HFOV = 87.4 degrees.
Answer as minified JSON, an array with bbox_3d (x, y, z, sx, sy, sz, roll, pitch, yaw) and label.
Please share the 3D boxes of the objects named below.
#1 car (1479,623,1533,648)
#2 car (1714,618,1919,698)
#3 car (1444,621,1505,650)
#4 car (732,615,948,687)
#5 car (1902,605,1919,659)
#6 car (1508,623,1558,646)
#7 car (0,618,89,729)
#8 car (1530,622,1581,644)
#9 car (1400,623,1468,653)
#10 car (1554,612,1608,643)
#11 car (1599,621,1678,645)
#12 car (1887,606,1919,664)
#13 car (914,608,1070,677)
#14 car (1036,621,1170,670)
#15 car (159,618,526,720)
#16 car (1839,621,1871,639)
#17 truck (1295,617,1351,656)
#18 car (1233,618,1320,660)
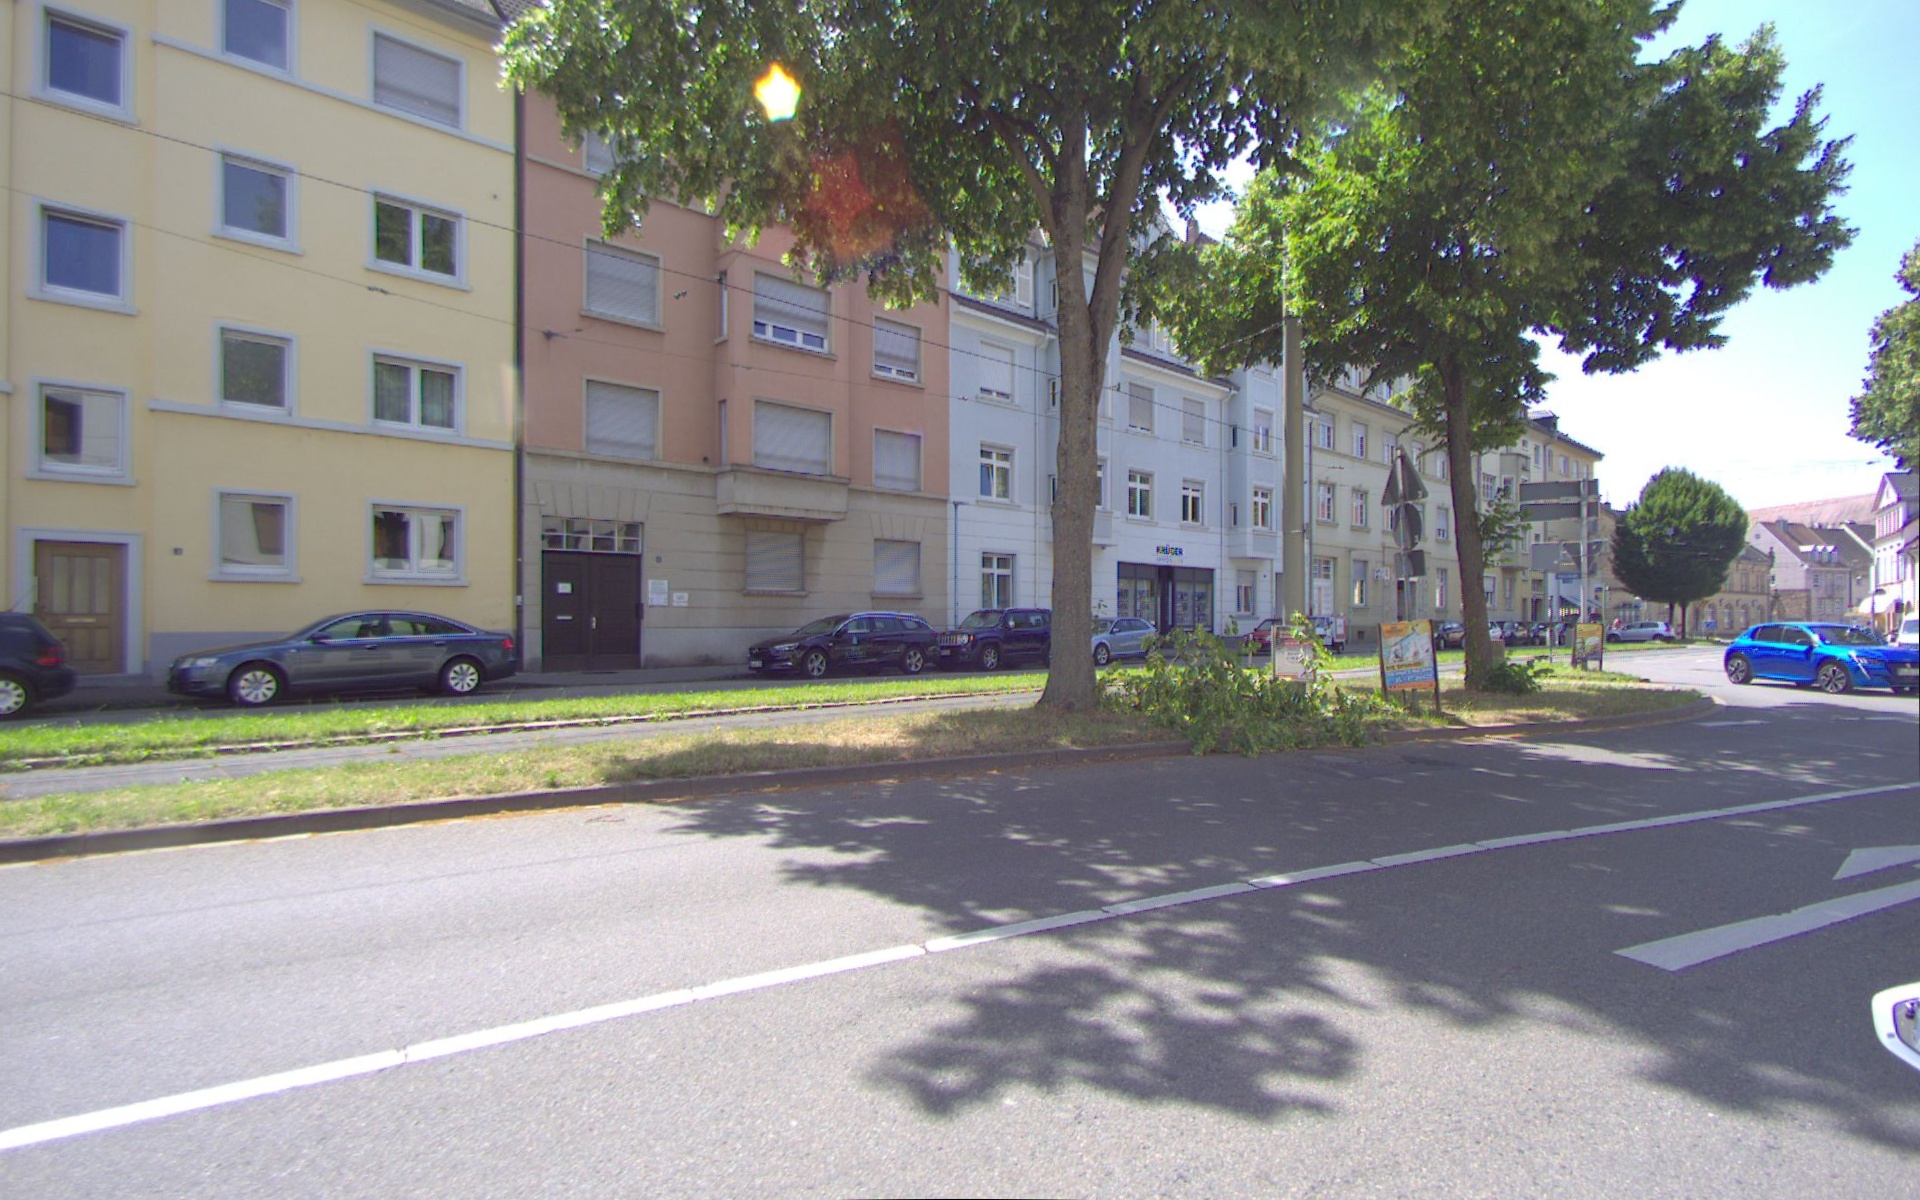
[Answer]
[{"bbox_3d":[30.154,1.956,55.433,3.266,1.294,1.670,1,-3,-44],"label":"car"},{"bbox_3d":[18.611,1.187,21.738,1.779,1.512,4.001,0,0,4],"label":"car"},{"bbox_3d":[26.687,1.825,52.064,3.831,1.408,1.670,1,-3,-44],"label":"car"},{"bbox_3d":[-2.684,1.134,23.325,4.830,1.510,1.909,1,-3,-44],"label":"car"},{"bbox_3d":[38.868,1.250,39.675,5.210,2.029,2.030,1,-1,-43],"label":"car"},{"bbox_3d":[33.461,1.990,58.625,3.562,1.294,1.587,1,-3,-44],"label":"car"},{"bbox_3d":[-13.740,0.955,12.658,4.113,1.418,1.813,1,-3,-44],"label":"car"},{"bbox_3d":[36.579,2.025,61.644,4.235,1.294,1.626,1,-3,-44],"label":"car"},{"bbox_3d":[22.751,1.802,48.118,3.831,1.378,1.670,1,-3,-44],"label":"car"},{"bbox_3d":[40.267,1.772,65.065,4.738,1.936,1.835,1,-3,-44],"label":"car"},{"bbox_3d":[45.701,2.214,67.679,4.158,1.524,1.993,-3,-3,43],"label":"car"},{"bbox_3d":[32.634,1.158,33.745,4.392,1.850,1.974,1,-1,-44],"label":"car"},{"bbox_3d":[0.918,1.109,26.902,4.114,1.707,1.819,1,-3,-44],"label":"car"},{"bbox_3d":[4.367,1.346,30.341,4.221,1.374,1.790,1,-3,-44],"label":"car"},{"bbox_3d":[-9.870,1.024,16.334,4.828,1.416,1.910,1,-3,-43],"label":"car"},{"bbox_3d":[75.030,2.512,84.258,1.838,1.506,3.981,0,-1,40],"label":"car"},{"bbox_3d":[14.770,1.461,40.809,2.577,1.514,1.115,1,-3,-45],"label":"truck"},{"bbox_3d":[11.914,1.454,37.690,3.601,1.470,1.556,1,-3,-44],"label":"car"}]
